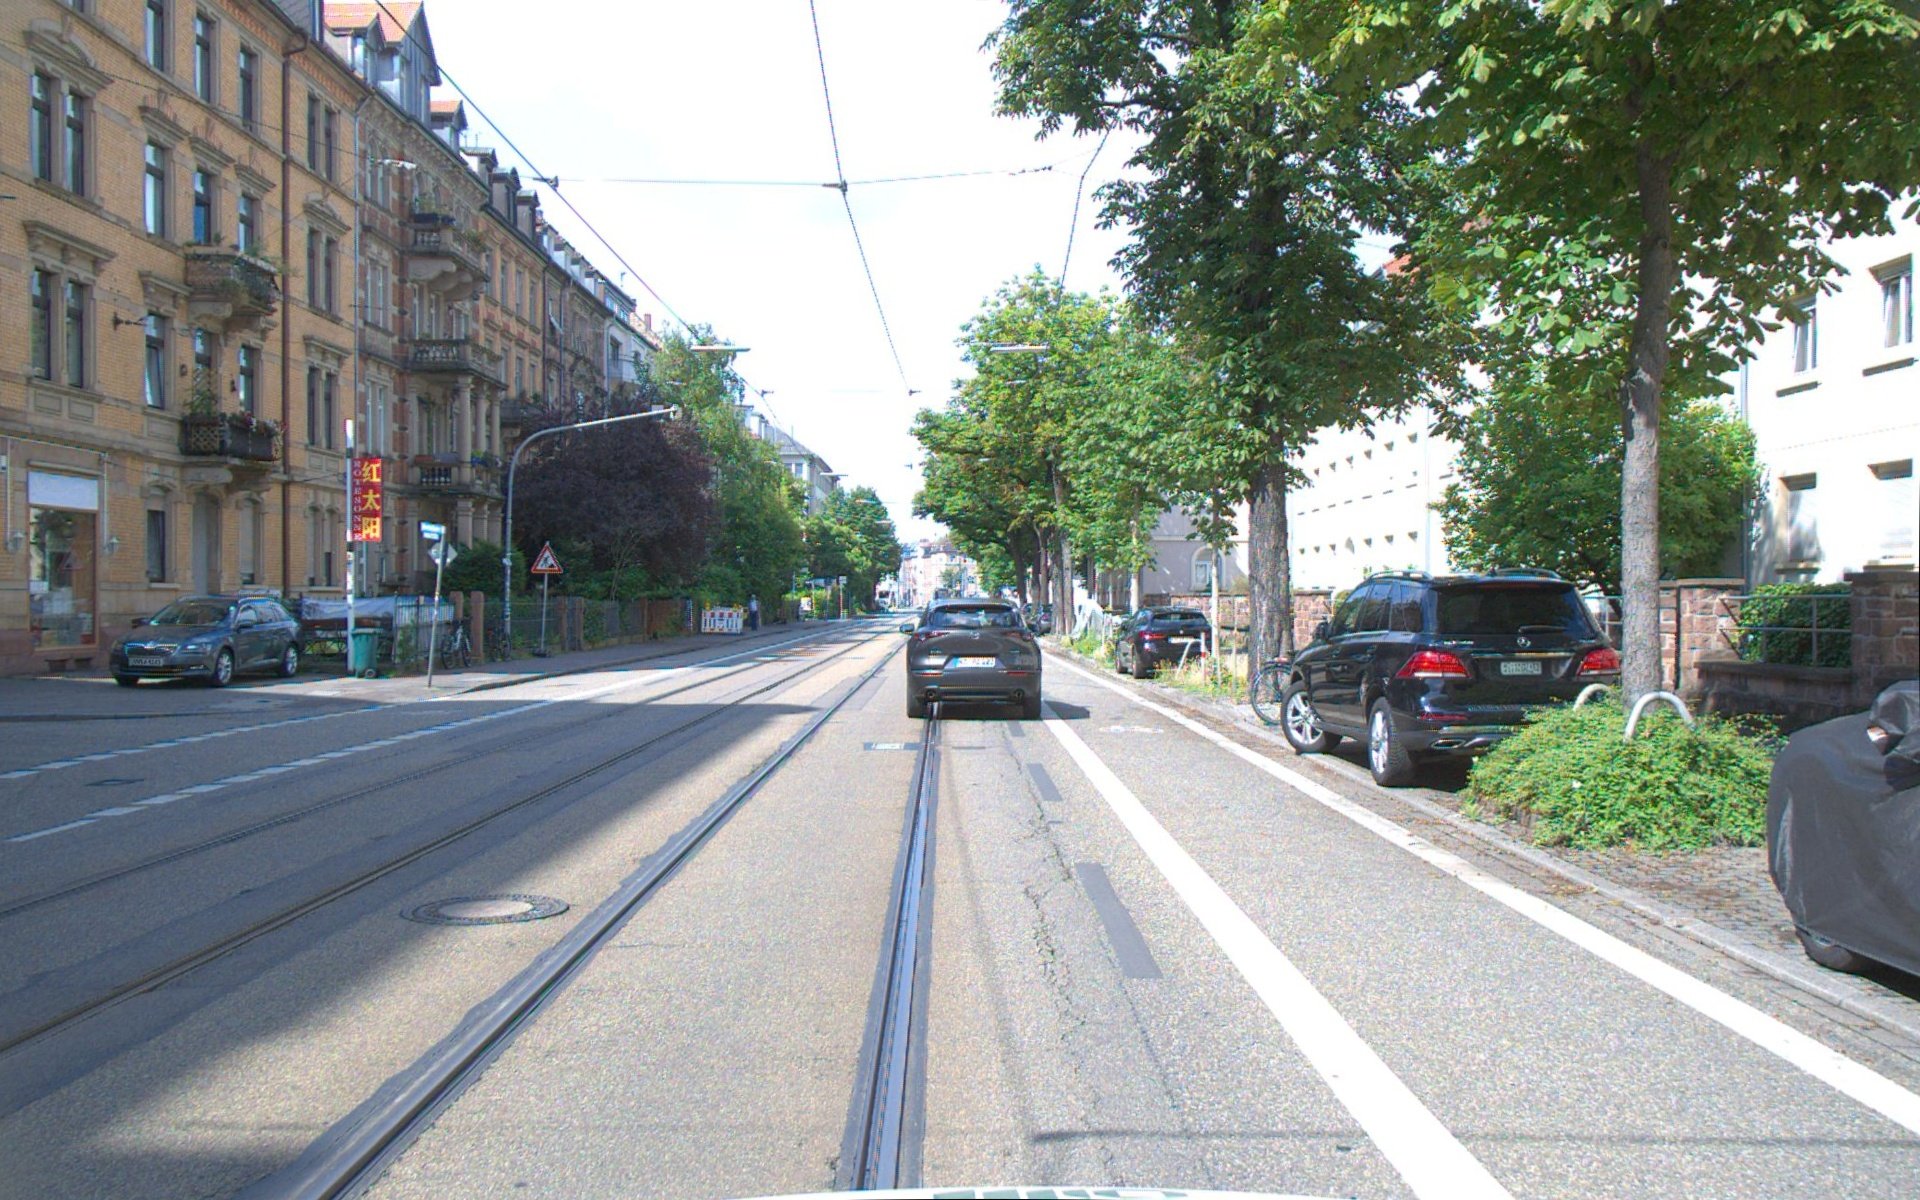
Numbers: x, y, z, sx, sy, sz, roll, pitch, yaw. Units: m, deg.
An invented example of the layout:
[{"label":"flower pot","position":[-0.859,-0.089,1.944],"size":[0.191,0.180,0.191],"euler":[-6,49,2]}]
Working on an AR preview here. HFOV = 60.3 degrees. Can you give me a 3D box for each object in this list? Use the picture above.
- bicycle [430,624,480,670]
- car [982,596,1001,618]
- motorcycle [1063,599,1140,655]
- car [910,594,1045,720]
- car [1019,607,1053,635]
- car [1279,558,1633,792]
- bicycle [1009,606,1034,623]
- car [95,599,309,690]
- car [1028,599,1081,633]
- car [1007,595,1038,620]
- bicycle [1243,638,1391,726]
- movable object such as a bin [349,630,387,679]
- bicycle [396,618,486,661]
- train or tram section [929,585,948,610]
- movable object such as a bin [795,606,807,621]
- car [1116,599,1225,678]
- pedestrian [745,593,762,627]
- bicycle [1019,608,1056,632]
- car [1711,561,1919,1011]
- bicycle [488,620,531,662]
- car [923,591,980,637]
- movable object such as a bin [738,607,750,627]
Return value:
[{"label":"bicycle","position":[-11.041,1.016,36.212],"size":[0.519,0.963,1.967],"euler":[0,0,-1]},{"label":"car","position":[2.825,0.610,149.029],"size":[1.685,2.003,4.207],"euler":[0,0,0]},{"label":"motorcycle","position":[4.316,0.809,50.533],"size":[2.342,1.625,0.675],"euler":[2,1,38]},{"label":"car","position":[0.193,0.711,22.420],"size":[1.685,1.553,3.589],"euler":[0,0,-1]},{"label":"car","position":[4.175,1.136,91.183],"size":[1.632,1.455,3.765],"euler":[-2,0,0]},{"label":"car","position":[4.332,0.567,15.279],"size":[1.790,1.813,4.732],"euler":[0,0,-1]},{"label":"bicycle","position":[3.737,0.879,100.261],"size":[1.460,1.000,0.259],"euler":[-1,-1,1]},{"label":"car","position":[-13.318,0.727,29.402],"size":[1.651,1.485,4.764],"euler":[-1,0,-1]},{"label":"car","position":[4.174,0.700,73.349],"size":[1.810,1.434,4.391],"euler":[-2,0,-4]},{"label":"car","position":[4.968,0.564,132.454],"size":[1.753,1.972,4.984],"euler":[0,0,-6]},{"label":"bicycle","position":[4.365,0.996,20.282],"size":[1.673,1.025,0.638],"euler":[-1,0,0]},{"label":"movable object such as a bin","position":[-11.433,1.042,31.936],"size":[0.514,0.921,0.636],"euler":[0,0,-2]},{"label":"bicycle","position":[-12.034,0.908,38.377],"size":[1.923,0.963,0.531],"euler":[0,0,-5]},{"label":"train or tram section","position":[-3.388,-0.389,257.454],"size":[2.520,3.839,13.016],"euler":[0,0,-3]},{"label":"movable object such as a bin","position":[-11.598,0.990,120.752],"size":[0.730,1.005,1.114],"euler":[2,0,-1]},{"label":"car","position":[4.339,0.765,34.660],"size":[1.671,1.505,4.196],"euler":[2,0,-1]},{"label":"pedestrian","position":[-10.578,0.520,84.611],"size":[0.806,1.736,0.891],"euler":[0,0,-4]},{"label":"bicycle","position":[4.036,1.063,86.146],"size":[1.895,1.196,0.513],"euler":[-1,-1,11]},{"label":"car","position":[4.513,0.696,5.552],"size":[1.825,1.682,4.636],"euler":[0,0,-1]},{"label":"bicycle","position":[-11.016,0.989,40.500],"size":[0.519,0.963,1.967],"euler":[0,0,-1]},{"label":"car","position":[-0.310,0.510,60.172],"size":[1.953,1.555,3.999],"euler":[2,0,-1]},{"label":"movable object such as a bin","position":[-12.293,0.962,93.941],"size":[0.526,1.113,0.790],"euler":[0,0,4]}]
